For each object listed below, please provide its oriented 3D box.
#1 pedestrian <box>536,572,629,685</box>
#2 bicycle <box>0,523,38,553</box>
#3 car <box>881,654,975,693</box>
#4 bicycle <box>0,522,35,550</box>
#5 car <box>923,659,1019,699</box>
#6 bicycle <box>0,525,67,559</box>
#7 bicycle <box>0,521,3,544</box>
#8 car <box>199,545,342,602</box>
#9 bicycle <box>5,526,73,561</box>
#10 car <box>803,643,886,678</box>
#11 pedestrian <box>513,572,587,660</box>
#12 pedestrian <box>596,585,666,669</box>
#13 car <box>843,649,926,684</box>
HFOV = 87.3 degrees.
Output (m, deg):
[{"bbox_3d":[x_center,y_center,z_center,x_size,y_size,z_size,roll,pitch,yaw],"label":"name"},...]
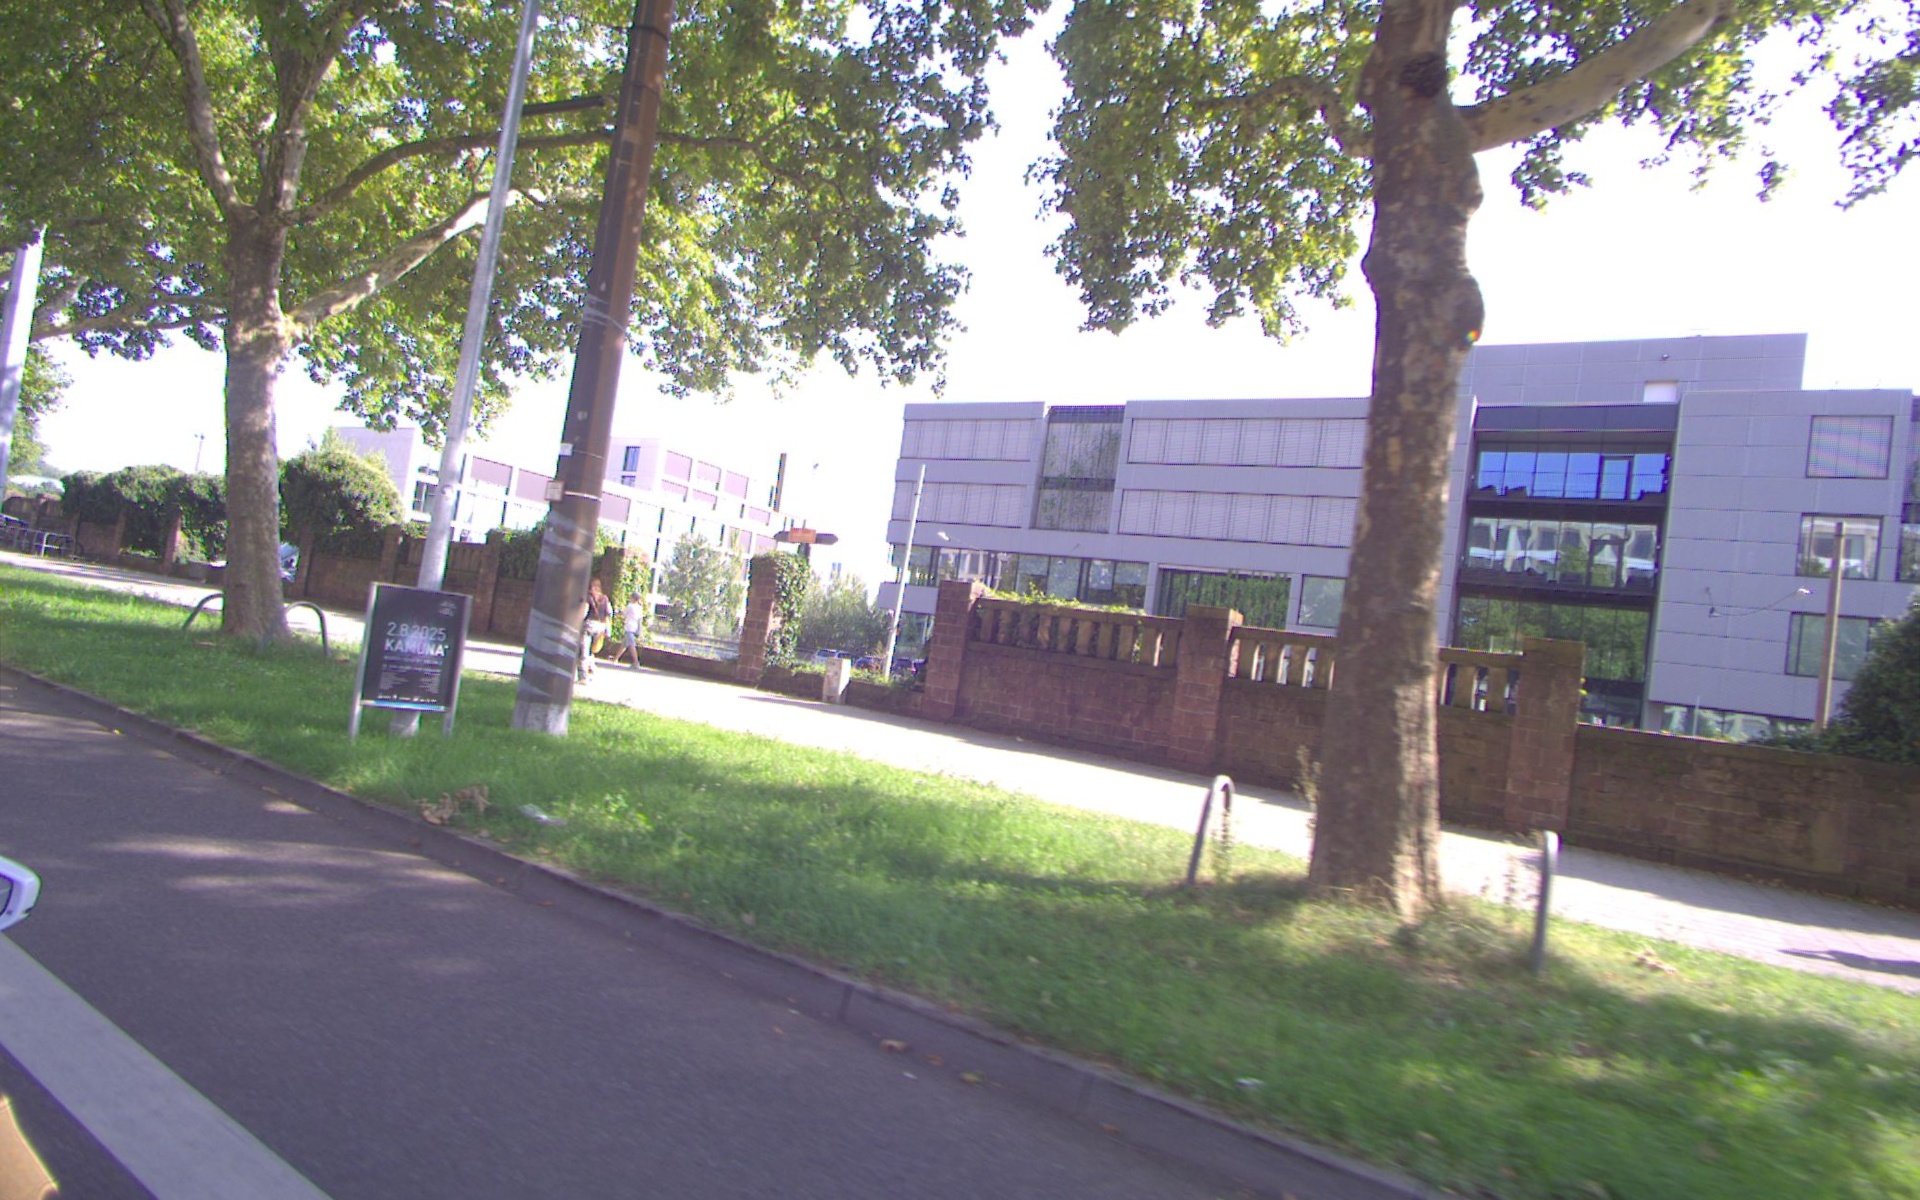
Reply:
[{"bbox_3d":[-5.989,0.455,15.967,0.931,1.655,0.807,6,-1,32],"label":"pedestrian"},{"bbox_3d":[-36.177,-2.391,38.157,0.498,0.981,1.657,6,-2,37],"label":"bicycle"},{"bbox_3d":[-1.542,3.665,49.989,4.460,1.308,1.826,11,-4,-42],"label":"car"},{"bbox_3d":[-39.301,-2.694,41.395,0.498,0.981,1.658,6,-2,34],"label":"bicycle"},{"bbox_3d":[0.550,3.782,48.006,4.460,1.308,1.826,11,-4,-42],"label":"car"},{"bbox_3d":[-33.685,-2.107,36.598,0.498,0.981,1.657,6,-2,37],"label":"bicycle"},{"bbox_3d":[-38.975,-2.756,39.714,1.634,0.981,0.505,7,-1,-10],"label":"bicycle"},{"bbox_3d":[-29.506,-1.097,43.194,1.946,1.693,4.527,6,-3,35],"label":"car"},{"bbox_3d":[-33.083,-2.020,36.170,0.498,0.981,1.658,6,-2,33],"label":"bicycle"},{"bbox_3d":[-6.108,3.244,53.682,1.818,1.308,4.478,6,-3,35],"label":"car"},{"bbox_3d":[-8.213,0.319,20.150,0.931,1.623,0.807,6,-1,32],"label":"pedestrian"},{"bbox_3d":[-6.867,0.569,21.002,0.931,1.623,0.807,6,-1,32],"label":"pedestrian"},{"bbox_3d":[-3.879,3.507,52.589,1.818,1.308,4.478,6,-3,35],"label":"car"}]
